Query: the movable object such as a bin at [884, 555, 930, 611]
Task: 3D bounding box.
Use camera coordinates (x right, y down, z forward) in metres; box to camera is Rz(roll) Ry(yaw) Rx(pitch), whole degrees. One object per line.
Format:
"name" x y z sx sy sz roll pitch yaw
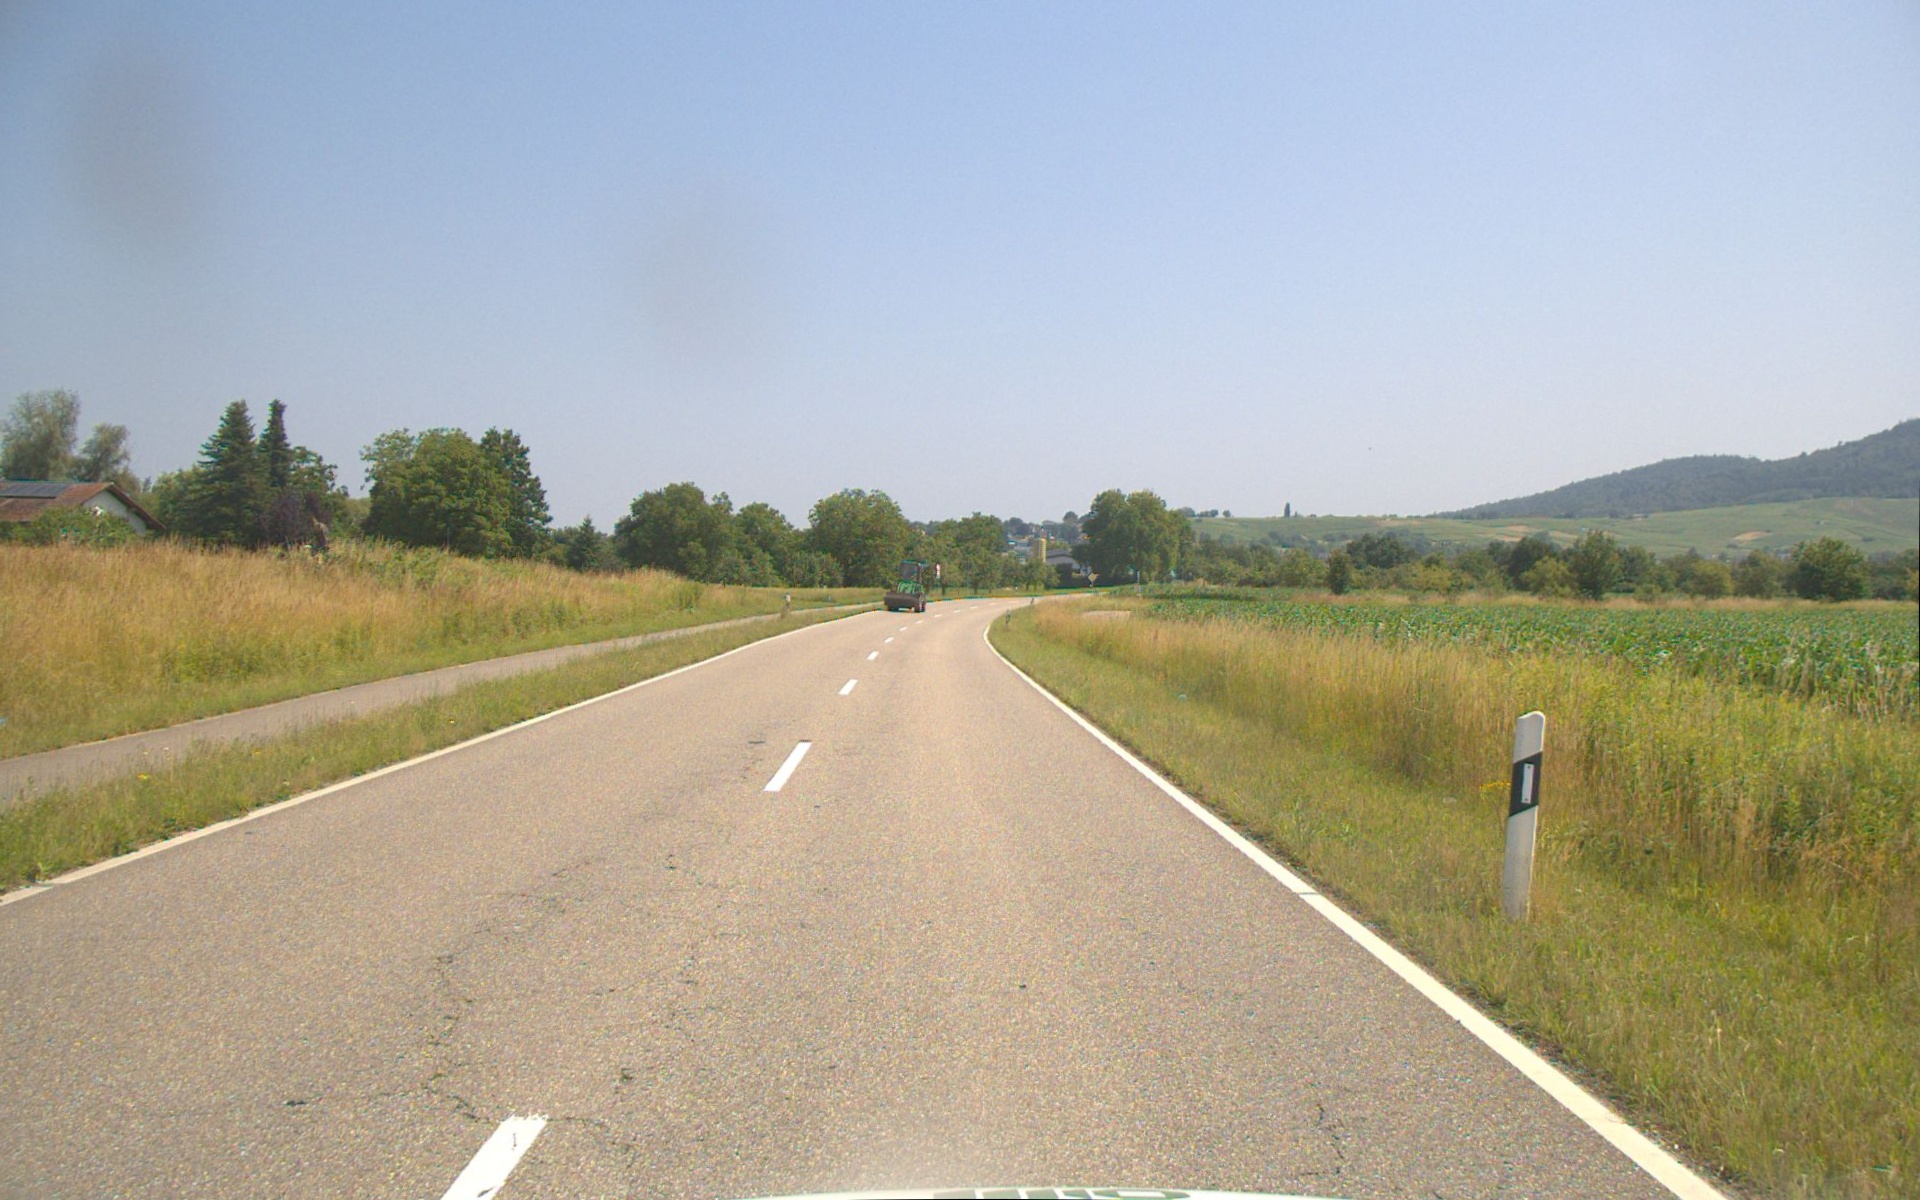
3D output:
"movable object such as a bin" -2.810 -0.924 89.119 1.959 2.802 5.232 4 1 2
